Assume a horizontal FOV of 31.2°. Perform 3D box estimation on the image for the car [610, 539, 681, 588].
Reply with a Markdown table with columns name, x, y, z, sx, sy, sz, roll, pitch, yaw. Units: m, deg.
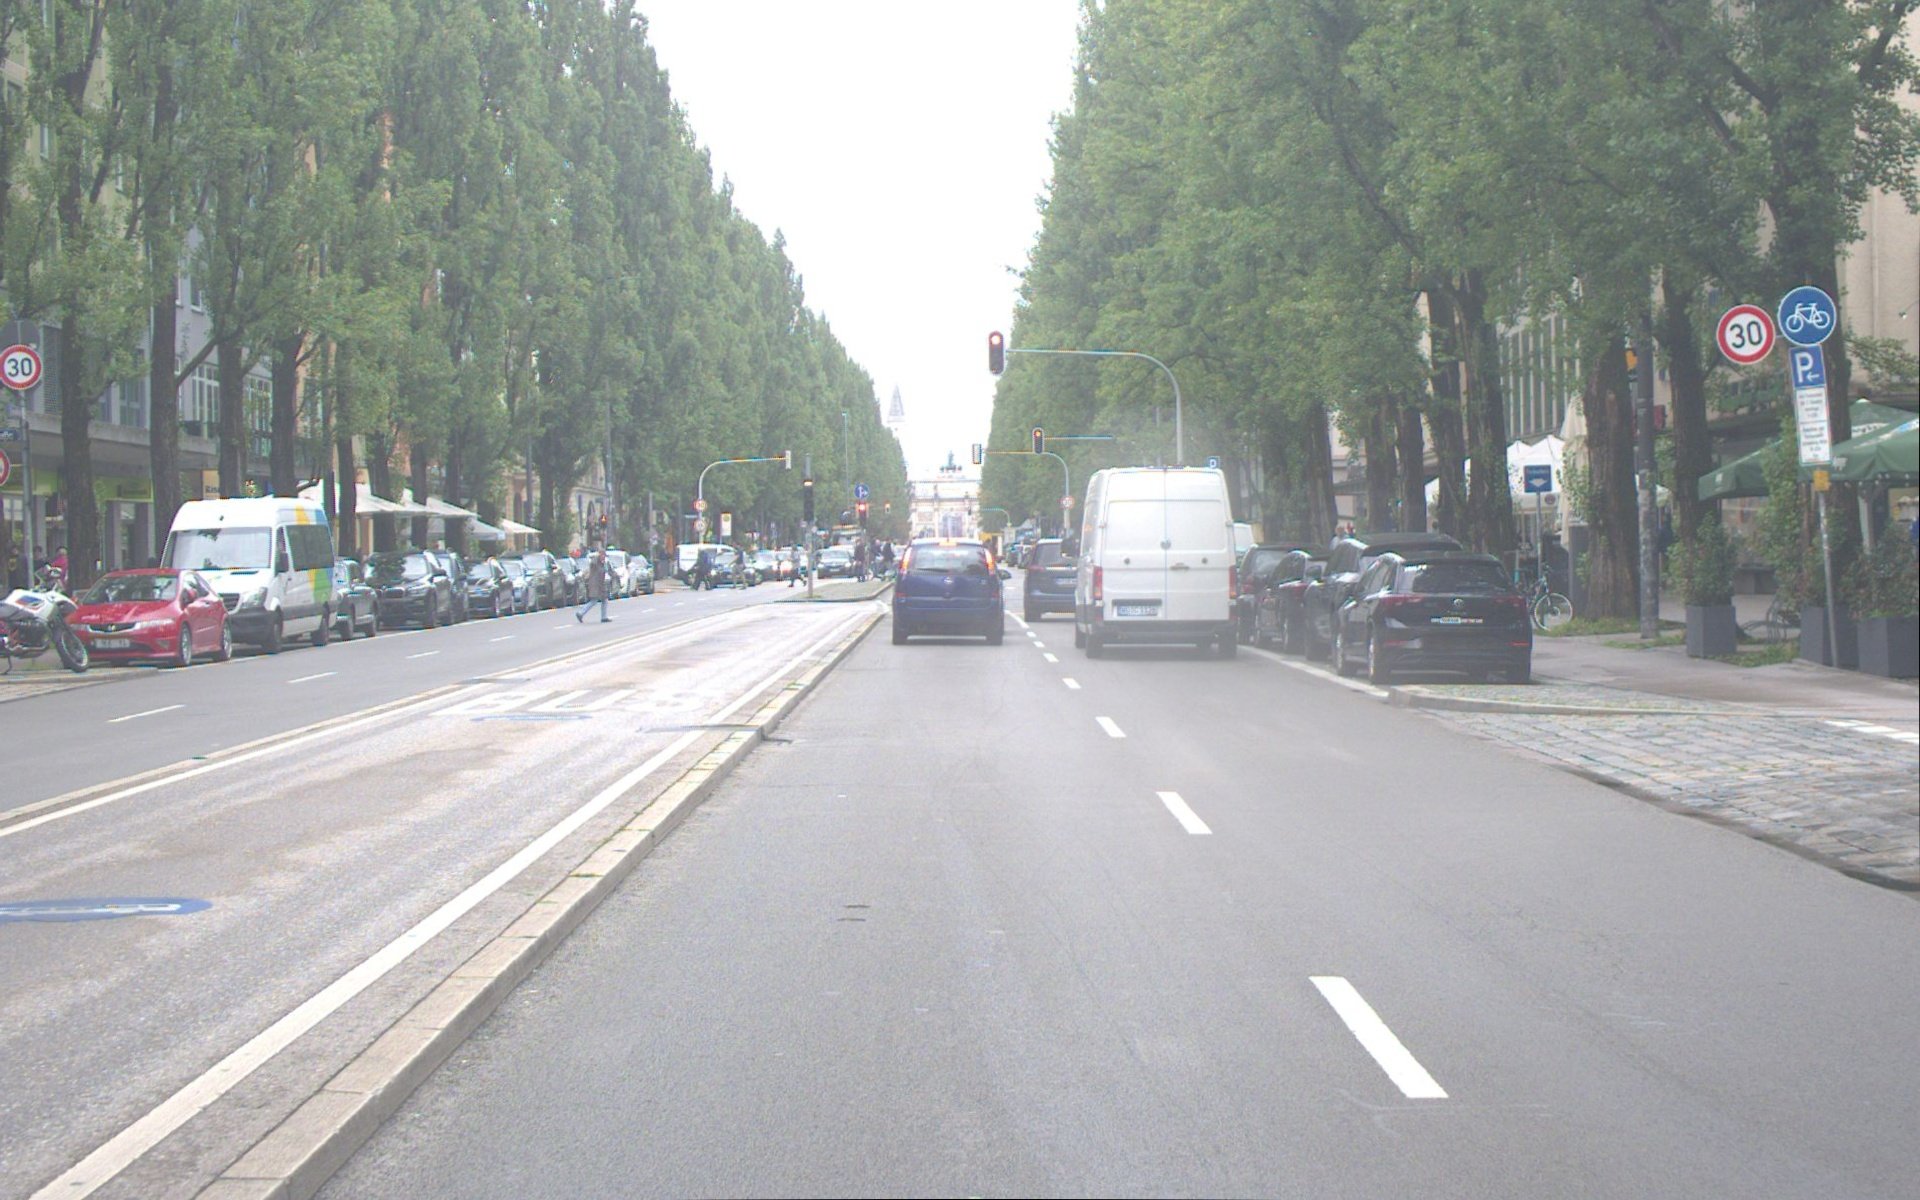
| name | x | y | z | sx | sy | sz | roll | pitch | yaw |
| --- | --- | --- | --- | --- | --- | --- | --- | --- | --- |
| car | -10.837 | -1.239 | 118.621 | 1.817 | 1.526 | 3.797 | -4 | 0 | 3 |

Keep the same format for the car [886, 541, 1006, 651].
| name | x | y | z | sx | sy | sz | roll | pitch | yaw |
| --- | --- | --- | --- | --- | --- | --- | --- | --- | --- |
| car | -0.200 | -0.066 | 52.733 | 1.759 | 1.614 | 3.747 | 0 | 0 | 0 |

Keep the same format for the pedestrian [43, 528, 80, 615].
| name | x | y | z | sx | sy | sz | roll | pitch | yaw |
| --- | --- | --- | --- | --- | --- | --- | --- | --- | --- |
| pedestrian | -19.398 | -0.620 | 74.226 | 0.582 | 1.850 | 0.675 | -1 | 1 | -1 |

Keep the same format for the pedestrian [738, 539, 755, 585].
| name | x | y | z | sx | sy | sz | roll | pitch | yaw |
| --- | --- | --- | --- | --- | --- | --- | --- | --- | --- |
| pedestrian | -8.055 | -1.428 | 129.506 | 0.553 | 1.710 | 0.493 | -2 | 1 | 1 |

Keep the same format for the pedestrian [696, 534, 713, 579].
| name | x | y | z | sx | sy | sz | roll | pitch | yaw |
| --- | --- | --- | --- | --- | --- | --- | --- | --- | --- |
| pedestrian | -9.766 | -1.671 | 131.175 | 0.553 | 1.710 | 0.493 | -2 | 1 | 1 |

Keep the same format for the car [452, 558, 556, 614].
| name | x | y | z | sx | sy | sz | roll | pitch | yaw |
| --- | --- | --- | --- | --- | --- | --- | --- | --- | --- |
| car | -11.855 | -0.360 | 89.644 | 1.994 | 1.415 | 4.000 | 0 | 0 | 3 |

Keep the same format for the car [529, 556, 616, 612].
| name | x | y | z | sx | sy | sz | roll | pitch | yaw |
| --- | --- | --- | --- | --- | --- | --- | --- | --- | --- |
| car | -11.189 | -0.472 | 99.485 | 1.930 | 1.481 | 4.110 | -2 | 1 | 1 |

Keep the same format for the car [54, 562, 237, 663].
| name | x | y | z | sx | sy | sz | roll | pitch | yaw |
| --- | --- | --- | --- | --- | --- | --- | --- | --- | --- |
| car | -11.983 | 0.168 | 50.793 | 1.795 | 1.424 | 4.000 | 0 | 0 | -1 |

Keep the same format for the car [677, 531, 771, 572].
| name | x | y | z | sx | sy | sz | roll | pitch | yaw |
| --- | --- | --- | --- | --- | --- | --- | --- | --- | --- |
| car | -10.422 | -2.137 | 151.464 | 3.986 | 1.739 | 2.000 | 0 | 0 | -8 |

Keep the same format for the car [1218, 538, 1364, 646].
| name | x | y | z | sx | sy | sz | roll | pitch | yaw |
| --- | --- | --- | --- | --- | --- | --- | --- | --- | --- |
| car | 5.031 | -0.124 | 52.723 | 1.804 | 1.590 | 4.000 | 0 | 0 | -1 |

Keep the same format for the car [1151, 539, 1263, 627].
| name | x | y | z | sx | sy | sz | roll | pitch | yaw |
| --- | --- | --- | --- | --- | --- | --- | --- | --- | --- |
| car | 4.588 | -0.307 | 64.238 | 1.762 | 1.590 | 4.000 | 0 | 0 | -1 |

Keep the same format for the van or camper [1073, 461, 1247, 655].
| name | x | y | z | sx | sy | sz | roll | pitch | yaw |
| --- | --- | --- | --- | --- | --- | --- | --- | --- | --- |
| van or camper | 2.650 | -0.532 | 46.423 | 2.034 | 2.467 | 4.000 | -1 | 0 | -1 |

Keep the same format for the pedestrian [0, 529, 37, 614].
| name | x | y | z | sx | sy | sz | roll | pitch | yaw |
| --- | --- | --- | --- | --- | --- | --- | --- | --- | --- |
| pedestrian | -20.527 | -0.625 | 74.987 | 0.582 | 1.850 | 0.675 | -1 | 1 | -1 |

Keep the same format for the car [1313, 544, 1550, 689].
| name | x | y | z | sx | sy | sz | roll | pitch | yaw |
| --- | --- | --- | --- | --- | --- | --- | --- | --- | --- |
| car | 5.140 | 0.141 | 37.943 | 1.943 | 1.462 | 4.000 | -1 | 1 | -1 |

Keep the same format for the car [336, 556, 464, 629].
| name | x | y | z | sx | sy | sz | roll | pitch | yaw |
| --- | --- | --- | --- | --- | --- | --- | --- | --- | --- |
| car | -11.811 | -0.162 | 72.774 | 1.993 | 1.481 | 4.000 | 0 | 0 | 1 |

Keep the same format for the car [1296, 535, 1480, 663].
| name | x | y | z | sx | sy | sz | roll | pitch | yaw |
| --- | --- | --- | --- | --- | --- | --- | --- | --- | --- |
| car | 5.374 | -0.052 | 43.598 | 1.785 | 1.519 | 3.941 | -1 | 1 | -1 |

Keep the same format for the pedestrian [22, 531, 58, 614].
| name | x | y | z | sx | sy | sz | roll | pitch | yaw |
| --- | --- | --- | --- | --- | --- | --- | --- | --- | --- |
| pedestrian | -20.757 | -0.633 | 77.563 | 0.582 | 1.850 | 0.675 | -1 | 1 | -1 |

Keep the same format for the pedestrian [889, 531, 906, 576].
| name | x | y | z | sx | sy | sz | roll | pitch | yaw |
| --- | --- | --- | --- | --- | --- | --- | --- | --- | --- |
| pedestrian | -2.363 | -1.766 | 130.085 | 0.553 | 1.710 | 0.493 | -2 | 1 | 1 |

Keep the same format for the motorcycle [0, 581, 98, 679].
| name | x | y | z | sx | sy | sz | roll | pitch | yaw |
| --- | --- | --- | --- | --- | --- | --- | --- | --- | --- |
| motorcycle | -12.119 | 0.368 | 43.457 | 1.238 | 1.136 | 3.716 | -1 | 1 | 5 |

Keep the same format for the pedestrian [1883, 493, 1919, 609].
| name | x | y | z | sx | sy | sz | roll | pitch | yaw |
| --- | --- | --- | --- | --- | --- | --- | --- | --- | --- |
| pedestrian | 14.656 | -0.762 | 52.498 | 0.814 | 1.749 | 0.932 | -1 | 1 | 32 |

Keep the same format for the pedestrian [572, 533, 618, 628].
| name | x | y | z | sx | sy | sz | roll | pitch | yaw |
| --- | --- | --- | --- | --- | --- | --- | --- | --- | --- |
| pedestrian | -7.797 | -0.427 | 73.443 | 0.809 | 2.007 | 0.720 | -1 | 1 | 7 |

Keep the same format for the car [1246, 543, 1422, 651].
| name | x | y | z | sx | sy | sz | roll | pitch | yaw |
| --- | --- | --- | --- | --- | --- | --- | --- | --- | --- |
| car | 5.201 | -0.046 | 48.320 | 1.993 | 1.459 | 4.000 | 0 | 0 | -1 |

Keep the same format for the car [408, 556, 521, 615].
| name | x | y | z | sx | sy | sz | roll | pitch | yaw |
| --- | --- | --- | --- | --- | --- | --- | --- | --- | --- |
| car | -12.082 | -0.347 | 84.079 | 1.994 | 1.415 | 4.000 | 0 | 0 | 3 |

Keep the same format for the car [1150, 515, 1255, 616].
| name | x | y | z | sx | sy | sz | roll | pitch | yaw |
| --- | --- | --- | --- | --- | --- | --- | --- | --- | --- |
| car | 4.926 | -0.688 | 70.254 | 1.804 | 1.985 | 4.000 | 0 | 0 | -1 |

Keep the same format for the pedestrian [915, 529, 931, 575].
| name | x | y | z | sx | sy | sz | roll | pitch | yaw |
| --- | --- | --- | --- | --- | --- | --- | --- | --- | --- |
| pedestrian | -1.426 | -1.830 | 131.267 | 0.553 | 1.710 | 0.493 | -2 | 1 | 1 |

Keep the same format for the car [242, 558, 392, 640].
| name | x | y | z | sx | sy | sz | roll | pitch | yaw |
| --- | --- | --- | --- | --- | --- | --- | --- | --- | --- |
| car | -11.913 | -0.028 | 63.949 | 1.993 | 1.470 | 4.000 | 0 | 0 | 1 |

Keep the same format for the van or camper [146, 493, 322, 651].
| name | x | y | z | sx | sy | sz | roll | pitch | yaw |
| --- | --- | --- | --- | --- | --- | --- | --- | --- | --- |
| van or camper | -11.873 | -0.482 | 56.489 | 1.993 | 2.450 | 4.251 | -1 | 1 | -1 |

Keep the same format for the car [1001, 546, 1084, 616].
| name | x | y | z | sx | sy | sz | roll | pitch | yaw |
| --- | --- | --- | --- | --- | --- | --- | --- | --- | --- |
| car | 1.606 | -0.388 | 67.773 | 1.503 | 1.308 | 3.283 | -1 | 1 | -1 |

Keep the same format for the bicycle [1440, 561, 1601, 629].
| name | x | y | z | sx | sy | sz | roll | pitch | yaw |
| --- | --- | --- | --- | --- | --- | --- | --- | --- | --- |
| bicycle | 8.704 | -0.089 | 53.546 | 0.759 | 1.020 | 2.734 | -2 | 1 | -35 |
